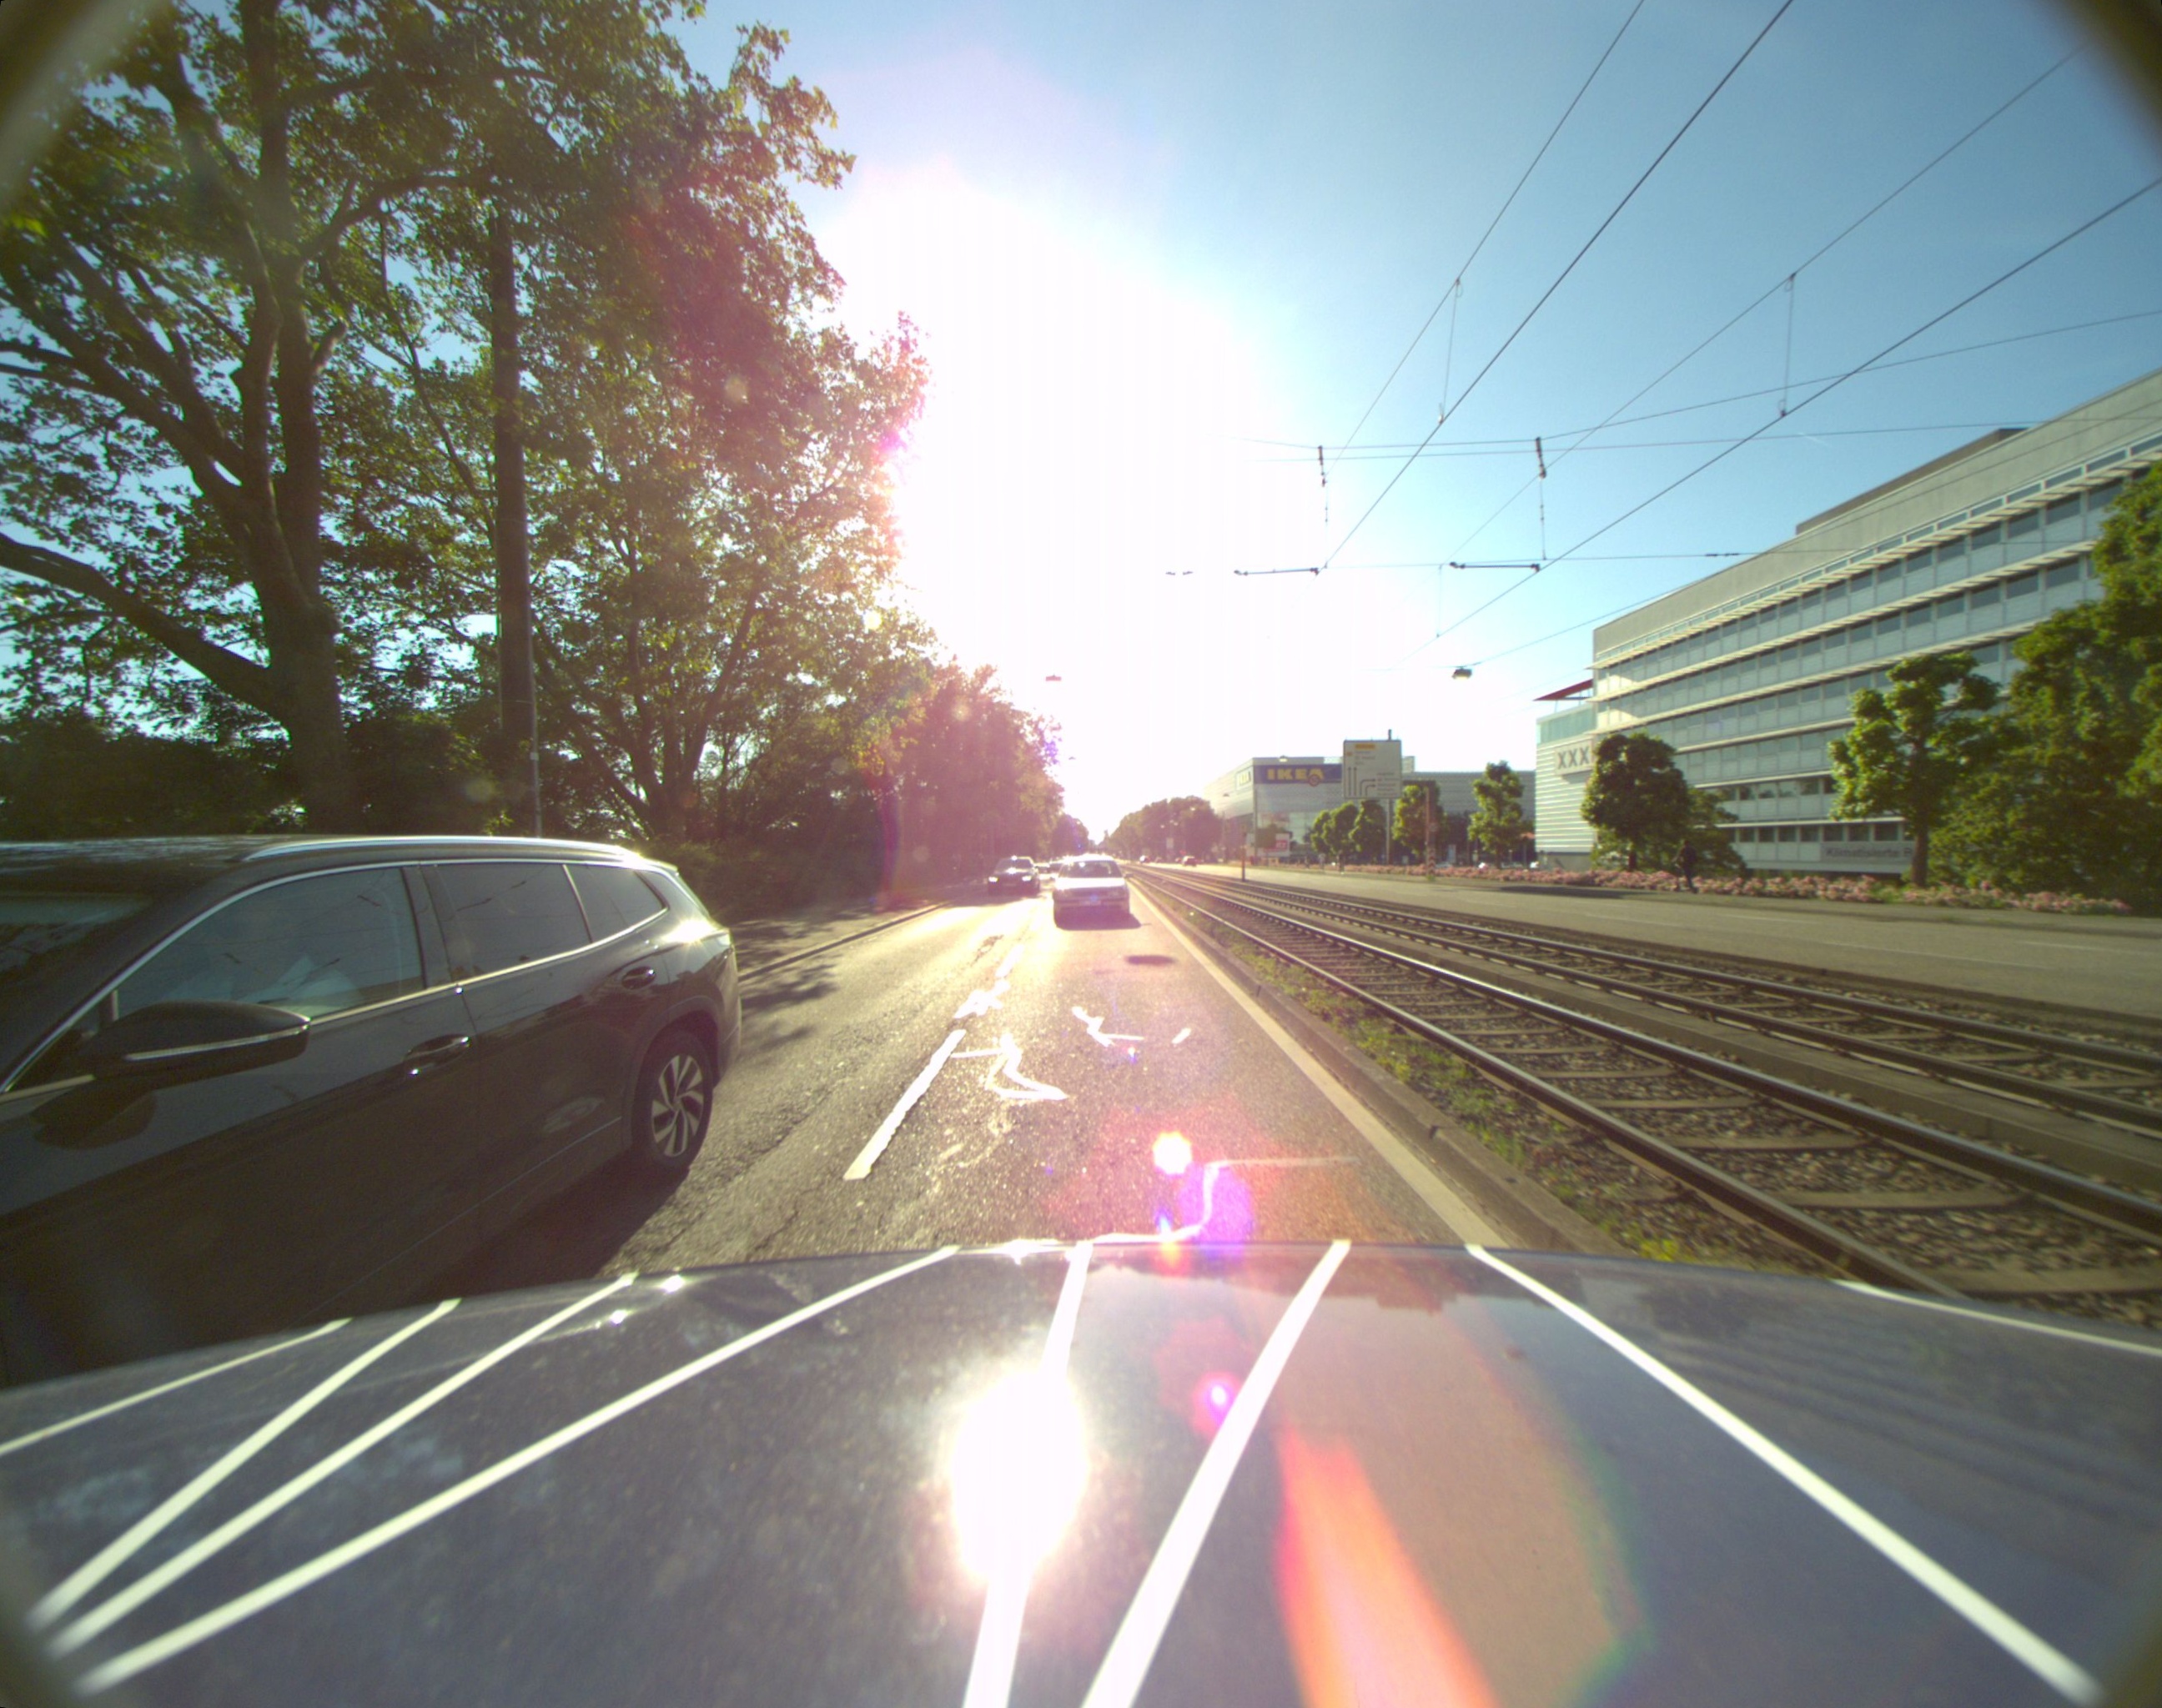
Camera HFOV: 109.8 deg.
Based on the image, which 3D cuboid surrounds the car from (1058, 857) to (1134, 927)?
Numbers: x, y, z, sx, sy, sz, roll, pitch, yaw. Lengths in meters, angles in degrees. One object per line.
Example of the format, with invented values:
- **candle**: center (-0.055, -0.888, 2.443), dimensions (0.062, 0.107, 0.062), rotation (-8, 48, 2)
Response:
- **car**: center (0.357, 0.823, 18.120), dimensions (1.602, 1.440, 3.799), rotation (-1, 0, 1)

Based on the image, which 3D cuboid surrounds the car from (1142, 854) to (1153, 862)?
- **car**: center (14.764, 0.838, 168.404), dimensions (1.998, 1.646, 4.659), rotation (1, 0, 1)

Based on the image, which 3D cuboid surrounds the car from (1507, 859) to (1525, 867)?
- **car**: center (97.482, 2.056, 170.371), dimensions (1.800, 1.645, 4.000), rotation (-1, 0, 1)

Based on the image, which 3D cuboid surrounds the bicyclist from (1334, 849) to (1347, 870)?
- **bicyclist**: center (20.102, 0.422, 58.792), dimensions (0.706, 1.503, 0.971), rotation (-3, 0, 7)

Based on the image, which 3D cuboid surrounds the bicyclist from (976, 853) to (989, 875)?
- **bicyclist**: center (-5.643, 0.561, 43.565), dimensions (0.642, 1.219, 0.890), rotation (0, 0, 0)

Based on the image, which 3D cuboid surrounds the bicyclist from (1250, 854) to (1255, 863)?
- **bicyclist**: center (29.805, 0.822, 132.206), dimensions (0.662, 1.614, 0.802), rotation (-3, 0, 10)

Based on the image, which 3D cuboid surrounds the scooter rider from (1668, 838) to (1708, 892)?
- **scooter rider**: center (21.388, 0.381, 26.804), dimensions (0.683, 1.838, 1.001), rotation (0, 1, 8)

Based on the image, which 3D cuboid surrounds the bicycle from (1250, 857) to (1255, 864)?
- **bicycle**: center (29.796, 1.165, 132.047), dimensions (0.662, 1.144, 2.023), rotation (-3, 0, 10)

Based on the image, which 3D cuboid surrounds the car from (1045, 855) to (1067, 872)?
- **car**: center (-2.332, 0.856, 69.704), dimensions (1.857, 1.415, 3.979), rotation (-2, 0, -3)

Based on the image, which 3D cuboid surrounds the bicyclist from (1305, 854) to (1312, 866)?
- **bicyclist**: center (26.666, 0.689, 89.133), dimensions (0.626, 1.366, 0.880), rotation (0, 0, 4)

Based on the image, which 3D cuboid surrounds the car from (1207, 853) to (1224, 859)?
- **car**: center (35.939, 0.489, 202.625), dimensions (4.252, 1.489, 2.016), rotation (2, 1, 6)

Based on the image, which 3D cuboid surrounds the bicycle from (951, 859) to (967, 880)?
- **bicycle**: center (-6.920, 0.873, 43.146), dimensions (0.623, 1.114, 1.813), rotation (-1, 1, 0)

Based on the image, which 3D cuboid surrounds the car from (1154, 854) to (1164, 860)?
- **car**: center (18.064, 0.651, 175.005), dimensions (1.861, 1.452, 4.137), rotation (-1, 0, 0)

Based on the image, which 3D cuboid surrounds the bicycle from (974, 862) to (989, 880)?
- **bicycle**: center (-5.641, 0.939, 43.203), dimensions (0.566, 0.968, 1.788), rotation (-1, 1, 0)

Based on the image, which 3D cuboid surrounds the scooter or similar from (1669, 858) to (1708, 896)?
- **scooter or similar**: center (21.399, 0.786, 26.795), dimensions (0.473, 1.288, 1.263), rotation (0, 1, 7)

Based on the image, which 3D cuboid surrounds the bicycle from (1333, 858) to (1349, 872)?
- **bicycle**: center (20.120, 0.852, 58.770), dimensions (0.706, 1.067, 2.028), rotation (-3, 0, 7)

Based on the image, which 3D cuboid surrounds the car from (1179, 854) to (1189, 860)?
- **car**: center (23.485, 0.694, 173.228), dimensions (1.938, 1.468, 4.134), rotation (2, 0, 9)

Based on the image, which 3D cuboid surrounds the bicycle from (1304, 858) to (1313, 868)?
- **bicycle**: center (26.669, 1.049, 89.113), dimensions (0.626, 1.052, 1.704), rotation (0, 0, 4)

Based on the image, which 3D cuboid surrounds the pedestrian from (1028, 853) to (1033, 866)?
- **pedestrian**: center (-7.001, 0.769, 105.024), dimensions (0.724, 1.698, 0.813), rotation (0, 0, 0)

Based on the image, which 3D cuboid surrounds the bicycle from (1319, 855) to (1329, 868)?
- **bicycle**: center (24.973, 0.770, 78.183), dimensions (0.604, 1.212, 1.749), rotation (-3, 0, 7)

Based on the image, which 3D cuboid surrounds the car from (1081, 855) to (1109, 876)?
- **car**: center (1.090, 0.830, 55.868), dimensions (1.871, 1.422, 3.831), rotation (-3, 0, 2)

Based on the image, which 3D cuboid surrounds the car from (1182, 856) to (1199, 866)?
- **car**: center (16.803, 1.074, 116.577), dimensions (2.044, 1.494, 4.887), rotation (0, 0, 1)

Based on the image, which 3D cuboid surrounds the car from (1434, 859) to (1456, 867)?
- **car**: center (81.727, 1.996, 170.658), dimensions (1.829, 1.789, 4.221), rotation (-3, 0, -28)

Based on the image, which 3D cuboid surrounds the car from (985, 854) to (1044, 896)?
- **car**: center (-2.595, 0.781, 30.597), dimensions (1.870, 1.459, 4.586), rotation (-2, 0, 1)

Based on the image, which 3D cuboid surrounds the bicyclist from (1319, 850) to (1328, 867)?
- **bicyclist**: center (24.956, 0.448, 78.170), dimensions (0.604, 1.649, 0.963), rotation (-3, 0, 7)

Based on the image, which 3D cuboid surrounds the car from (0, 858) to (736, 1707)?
- **car**: center (-2.856, 0.879, 1.968), dimensions (1.849, 1.651, 4.439), rotation (-1, 0, 0)

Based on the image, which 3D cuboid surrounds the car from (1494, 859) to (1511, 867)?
- **car**: center (94.587, 2.036, 170.624), dimensions (1.727, 1.645, 4.000), rotation (-1, 0, 1)

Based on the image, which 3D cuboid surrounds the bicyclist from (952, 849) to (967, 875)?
- **bicyclist**: center (-6.925, 0.455, 43.230), dimensions (0.687, 1.500, 0.890), rotation (-1, 0, 0)
